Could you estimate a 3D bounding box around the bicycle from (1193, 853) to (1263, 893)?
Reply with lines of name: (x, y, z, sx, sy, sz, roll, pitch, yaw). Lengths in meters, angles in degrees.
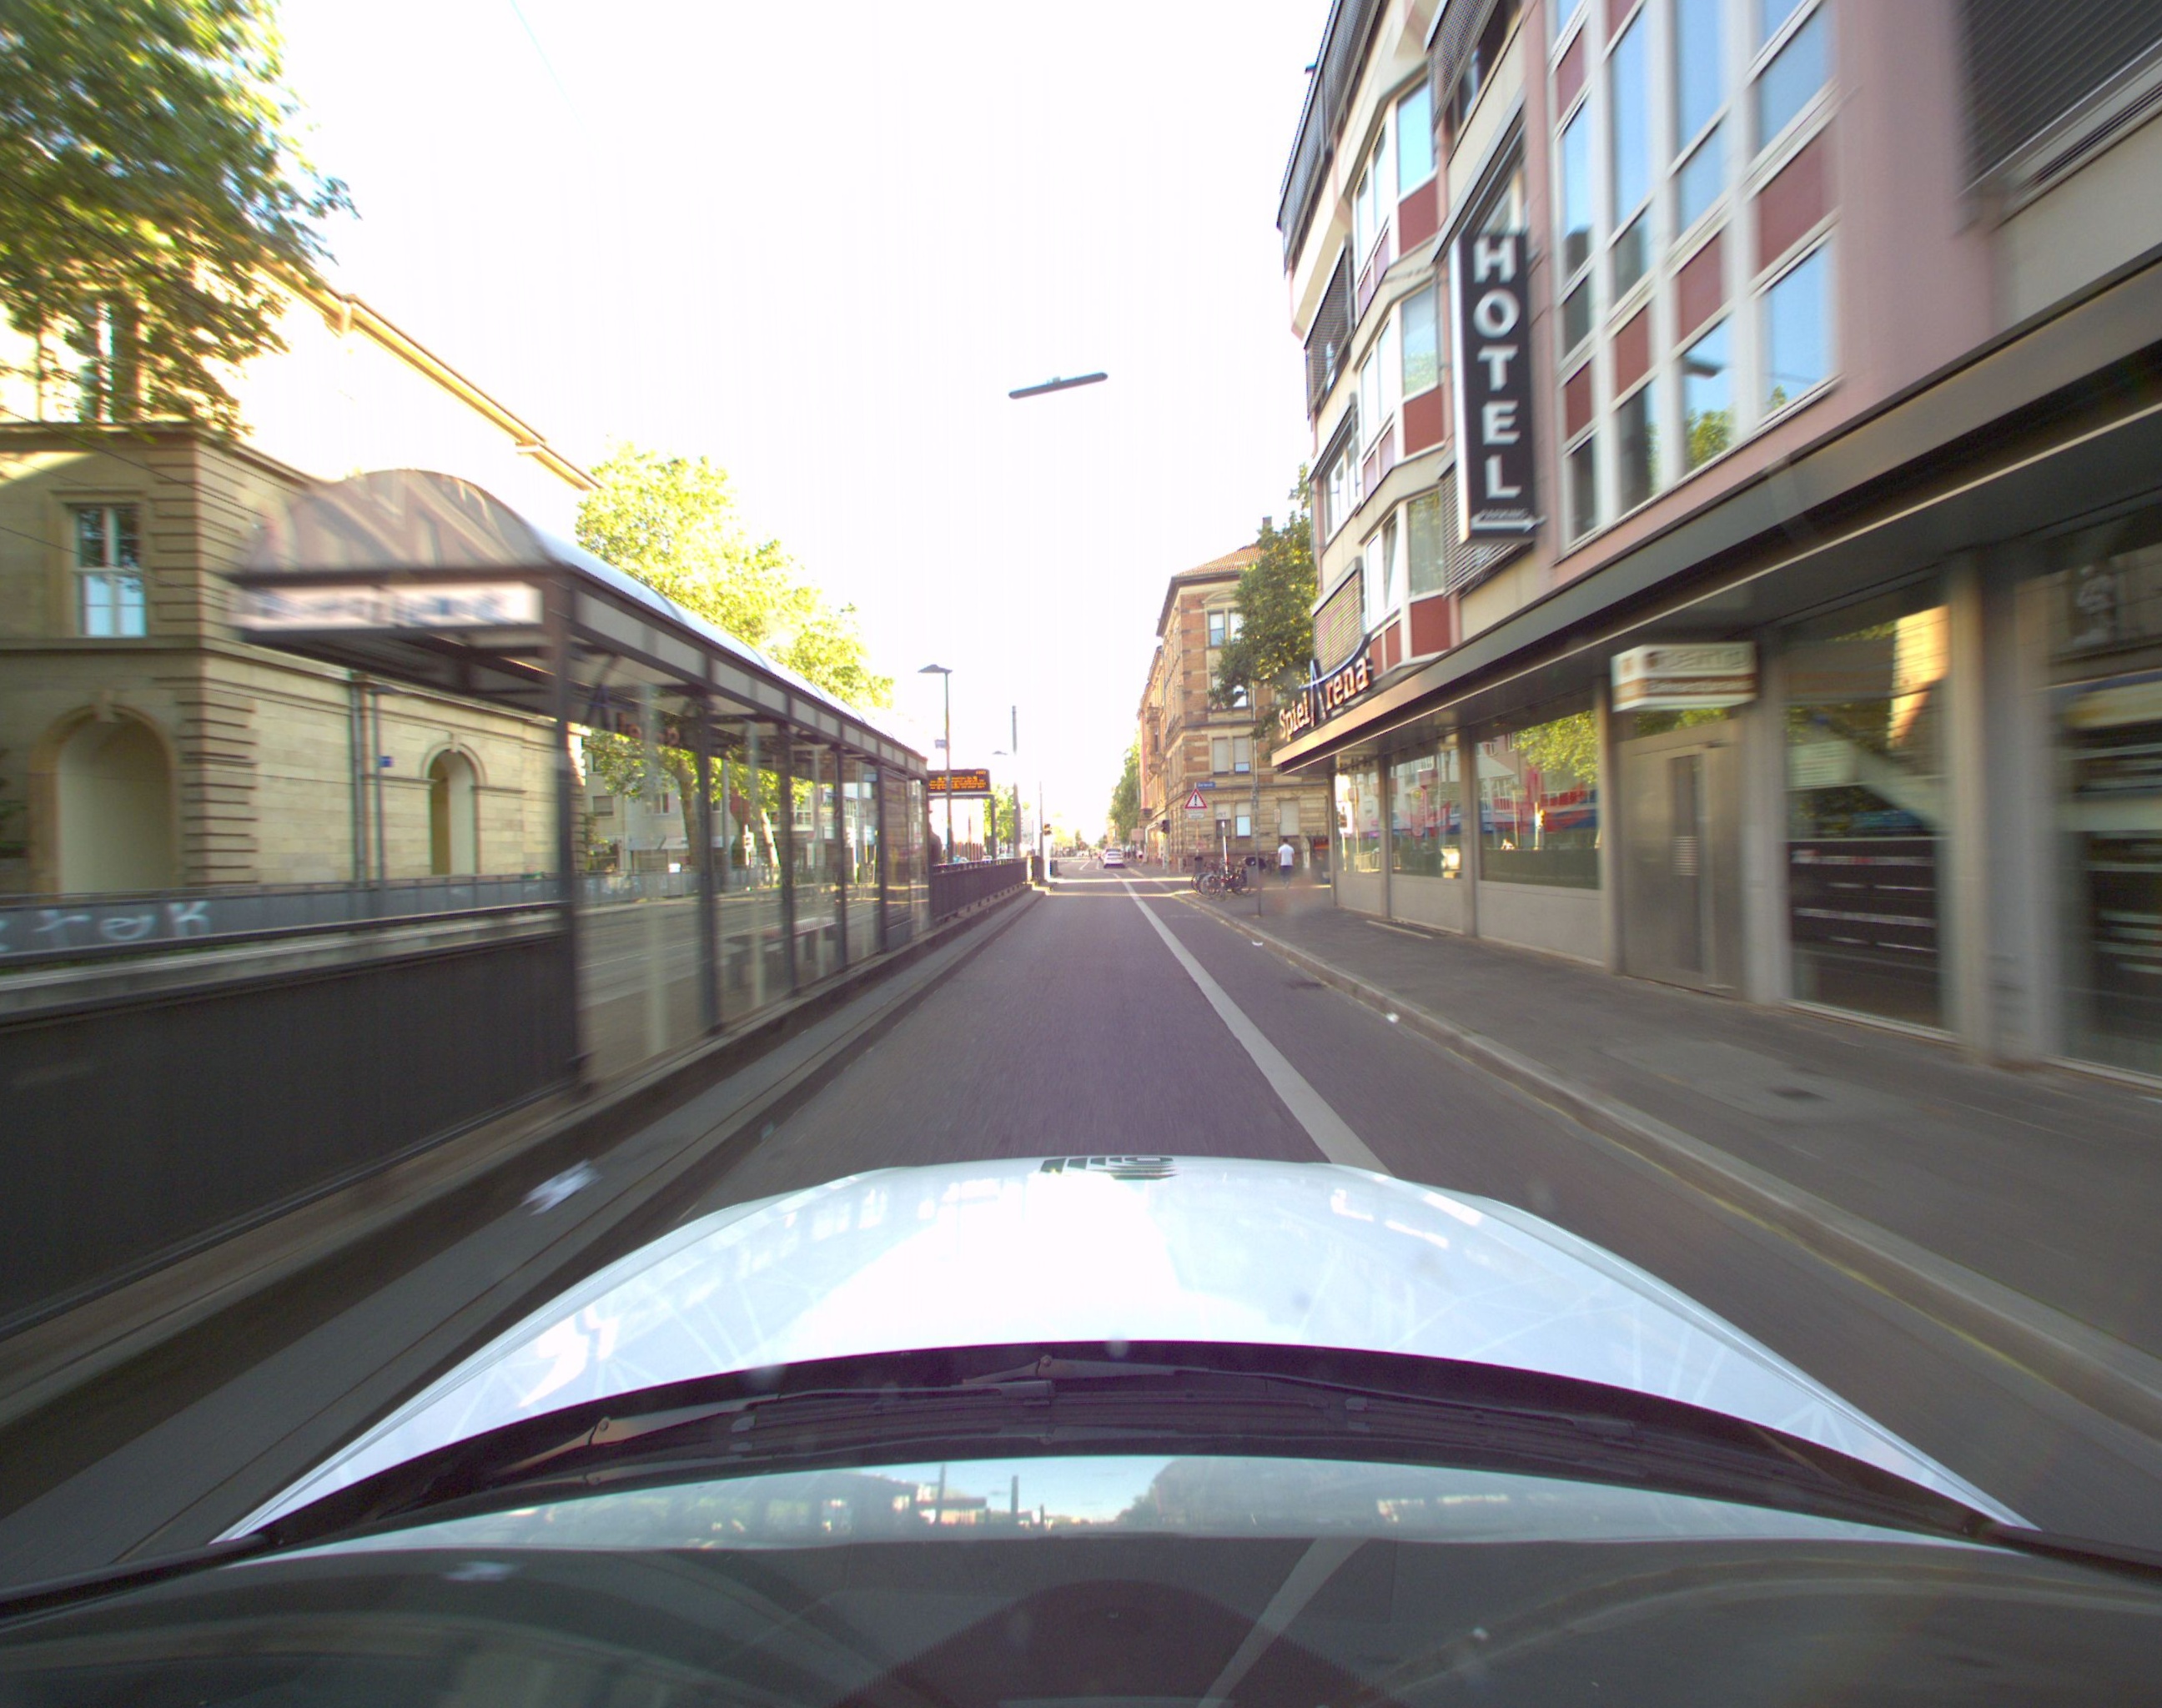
bicycle: (4.411, 0.551, 24.484, 1.965, 1.104, 0.614, -2, 0, -3)

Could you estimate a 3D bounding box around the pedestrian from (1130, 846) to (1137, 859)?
pedestrian: (6.754, -0.208, 105.614, 0.773, 1.567, 0.914, -5, 0, 2)

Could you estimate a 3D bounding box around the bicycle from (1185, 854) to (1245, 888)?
bicycle: (4.427, 0.562, 26.888, 1.829, 1.054, 0.710, -2, 0, -3)

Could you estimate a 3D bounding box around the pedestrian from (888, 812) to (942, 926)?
pedestrian: (-2.602, 0.225, 12.864, 0.620, 1.712, 0.850, -2, 0, 0)

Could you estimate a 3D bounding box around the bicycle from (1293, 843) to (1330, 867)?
bicycle: (11.940, 0.050, 42.218, 0.616, 1.182, 2.089, -2, 0, -25)

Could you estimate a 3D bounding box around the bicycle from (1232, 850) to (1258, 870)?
bicycle: (8.461, 0.309, 42.155, 0.452, 1.024, 1.896, -2, 0, -17)

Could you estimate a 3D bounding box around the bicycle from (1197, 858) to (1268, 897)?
bicycle: (4.420, 0.672, 23.827, 1.908, 1.047, 0.680, -2, 0, -3)

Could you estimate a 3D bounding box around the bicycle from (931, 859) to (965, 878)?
bicycle: (-7.762, 0.845, 47.625, 1.885, 1.077, 0.584, 1, 0, 3)

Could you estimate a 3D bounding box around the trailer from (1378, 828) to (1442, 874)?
trailer: (13.606, -0.125, 33.887, 1.952, 1.732, 3.948, -3, -1, 15)

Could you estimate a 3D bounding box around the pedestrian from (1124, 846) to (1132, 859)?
pedestrian: (6.095, -0.216, 105.626, 0.773, 1.567, 0.914, -5, 0, 2)

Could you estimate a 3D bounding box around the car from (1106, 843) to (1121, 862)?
car: (3.862, -0.185, 97.054, 1.698, 2.120, 3.710, -1, -1, 4)

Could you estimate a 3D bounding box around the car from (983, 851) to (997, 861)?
car: (-14.762, 0.295, 132.219, 1.864, 1.600, 4.251, -1, 0, -2)

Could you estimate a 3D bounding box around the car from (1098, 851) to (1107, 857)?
car: (5.556, -0.064, 210.439, 2.058, 1.389, 4.226, 1, 0, 1)

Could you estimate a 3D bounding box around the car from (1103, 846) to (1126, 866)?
car: (3.040, 0.144, 74.322, 1.959, 1.771, 4.877, 0, 0, 2)

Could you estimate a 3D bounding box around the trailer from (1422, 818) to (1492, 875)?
trailer: (13.699, -0.268, 29.826, 1.565, 1.884, 3.196, -4, -1, 12)

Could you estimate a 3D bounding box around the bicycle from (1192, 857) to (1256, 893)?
bicycle: (4.418, 0.634, 25.214, 1.829, 1.054, 0.717, -2, 0, -3)

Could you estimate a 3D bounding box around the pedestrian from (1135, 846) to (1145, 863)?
pedestrian: (5.692, 0.045, 78.375, 0.772, 1.567, 0.915, -5, 0, 4)

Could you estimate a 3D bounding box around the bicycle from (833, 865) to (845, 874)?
bicycle: (-18.429, 1.194, 62.100, 0.455, 0.658, 1.807, 1, 0, -4)

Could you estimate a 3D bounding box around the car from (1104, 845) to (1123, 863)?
car: (3.403, -0.043, 86.330, 1.947, 1.869, 4.992, 0, 0, 2)

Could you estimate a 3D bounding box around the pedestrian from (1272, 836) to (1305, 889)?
pedestrian: (6.723, 0.260, 26.439, 0.780, 1.665, 1.034, -2, 2, 2)

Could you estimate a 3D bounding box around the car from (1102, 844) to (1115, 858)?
car: (4.481, -0.496, 132.089, 1.963, 2.014, 4.560, -3, 0, 2)

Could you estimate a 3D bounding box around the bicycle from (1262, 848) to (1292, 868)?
bicycle: (10.148, 0.212, 42.223, 0.497, 1.024, 1.895, -2, 0, -19)

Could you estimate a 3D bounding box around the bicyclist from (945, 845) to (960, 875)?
bicyclist: (-7.508, 0.341, 47.589, 0.740, 1.712, 0.534, -2, 0, 3)

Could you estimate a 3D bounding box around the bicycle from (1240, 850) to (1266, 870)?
bicycle: (8.870, 0.315, 42.150, 0.418, 1.024, 1.896, -2, 0, -17)

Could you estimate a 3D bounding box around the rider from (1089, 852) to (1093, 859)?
rider: (2.246, 0.280, 180.209, 0.880, 1.481, 0.713, 0, 0, 2)
